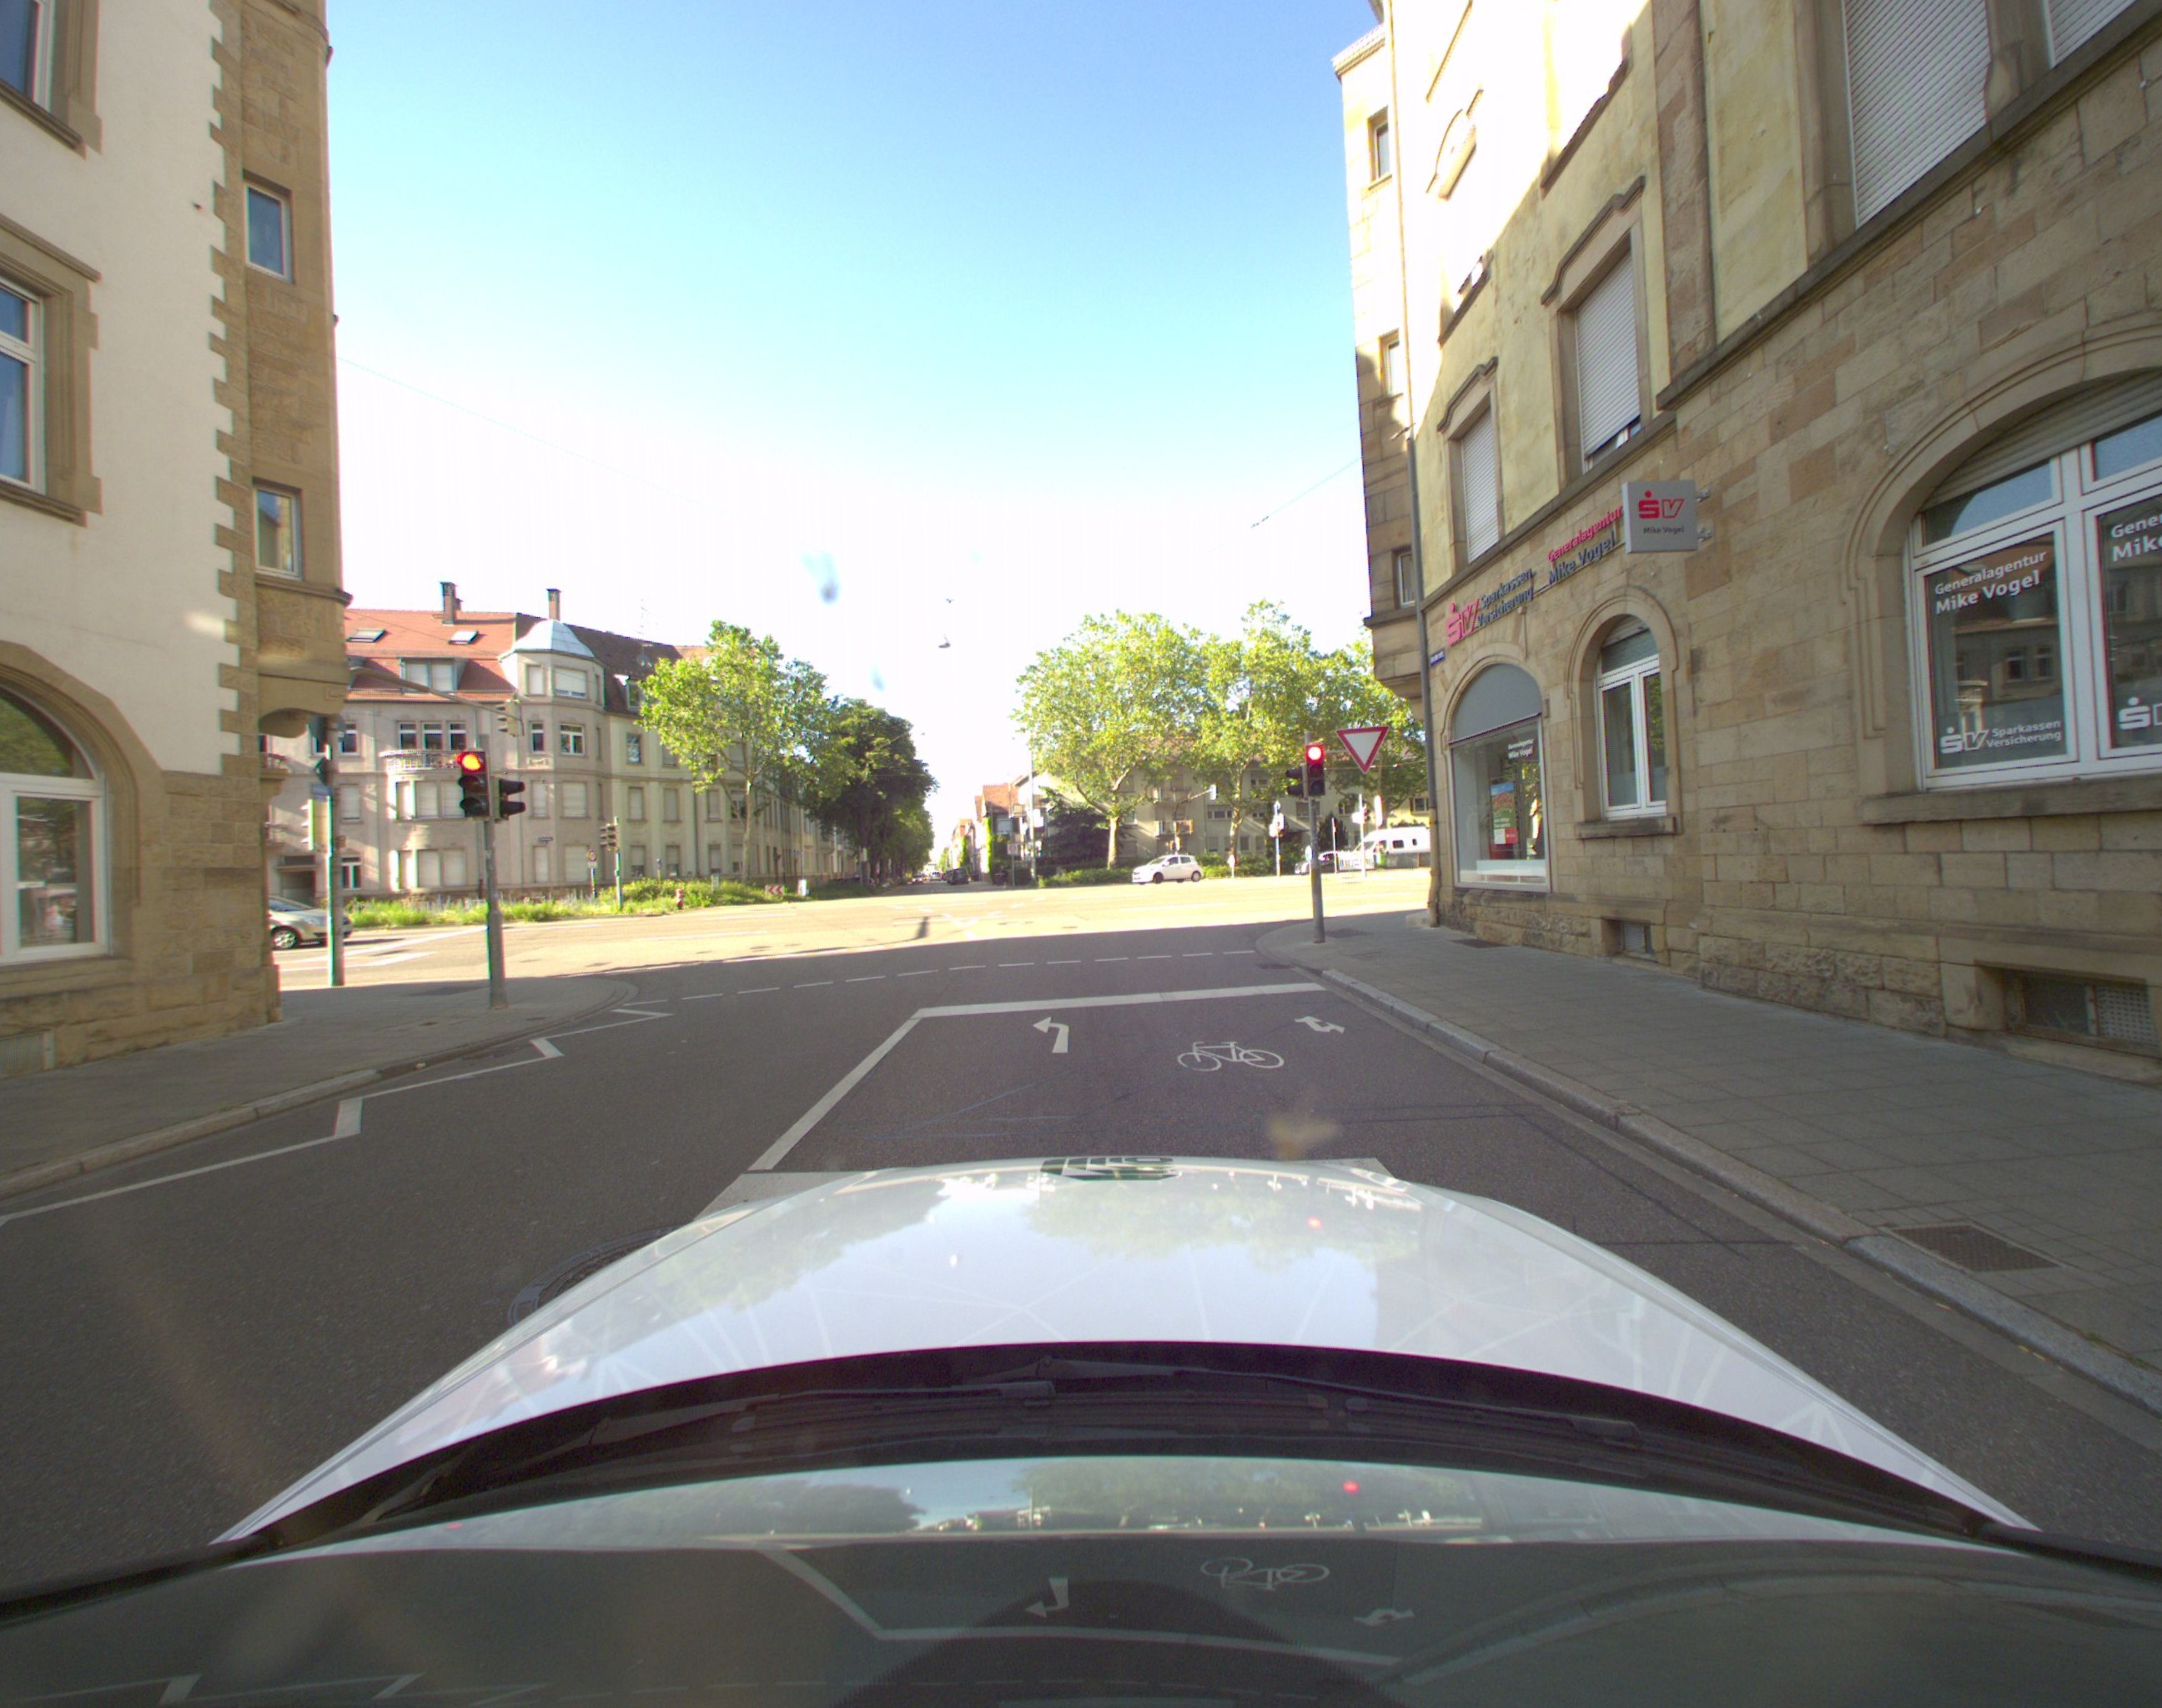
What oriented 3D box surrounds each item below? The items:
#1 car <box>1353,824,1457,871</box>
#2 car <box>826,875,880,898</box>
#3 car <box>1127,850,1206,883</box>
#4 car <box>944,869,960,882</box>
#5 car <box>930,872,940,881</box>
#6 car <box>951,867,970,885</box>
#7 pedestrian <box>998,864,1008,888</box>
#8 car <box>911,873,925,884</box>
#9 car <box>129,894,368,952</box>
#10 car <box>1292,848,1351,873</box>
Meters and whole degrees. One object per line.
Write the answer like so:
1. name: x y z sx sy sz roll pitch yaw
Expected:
1. car: 20.351 -0.414 51.111 6.054 2.568 1.989 -3 0 -17
2. car: -17.971 2.532 64.264 3.997 1.486 1.672 -3 0 -17
3. car: 4.522 0.648 42.865 3.809 1.472 1.615 -3 0 -28
4. car: -19.915 3.309 125.835 1.996 1.833 3.980 -1 -1 -14
5. car: -24.703 3.789 137.553 1.674 1.483 3.509 -2 -1 -10
6. car: -14.042 2.547 95.070 1.992 2.013 3.989 -3 0 -8
7. pedestrian: -5.796 1.628 60.372 0.631 1.750 0.658 -2 -1 -2
8. car: -24.871 3.690 124.307 1.995 1.445 3.983 -3 0 -12
9. car: -21.792 1.776 21.532 3.995 1.319 1.812 0 -1 -16
10. car: 15.607 0.421 52.921 3.391 1.487 1.515 -3 0 -20
